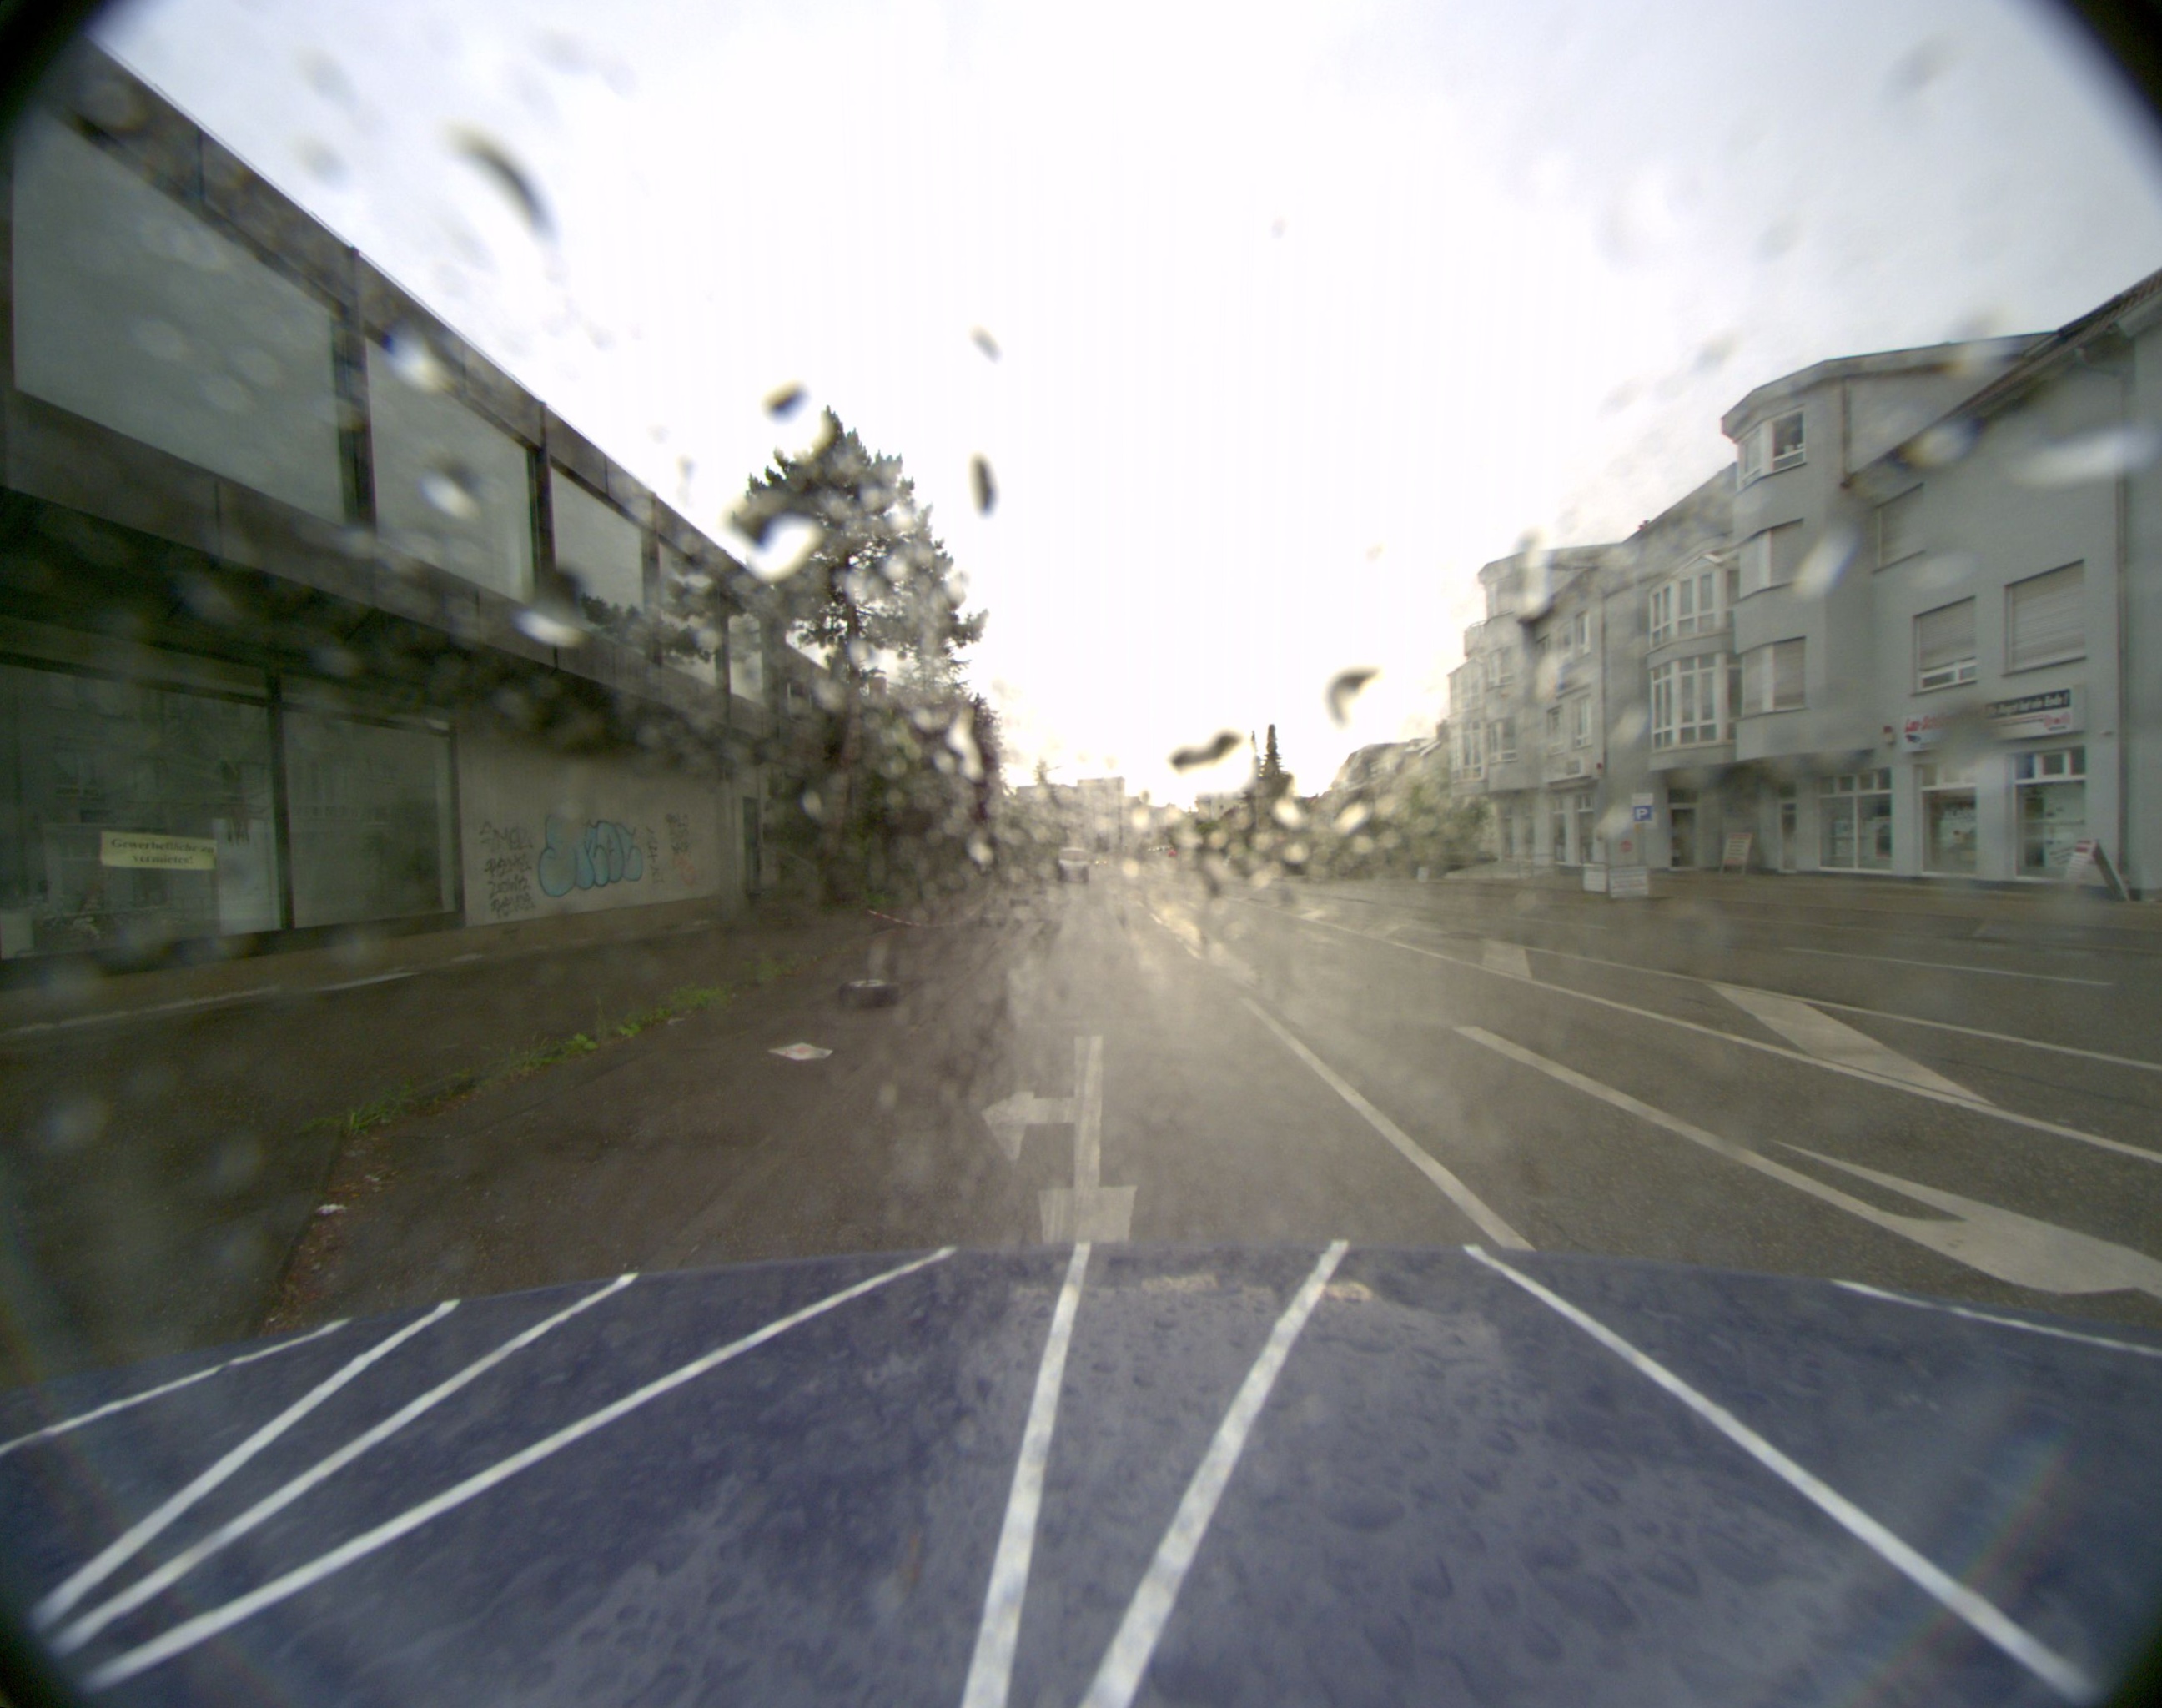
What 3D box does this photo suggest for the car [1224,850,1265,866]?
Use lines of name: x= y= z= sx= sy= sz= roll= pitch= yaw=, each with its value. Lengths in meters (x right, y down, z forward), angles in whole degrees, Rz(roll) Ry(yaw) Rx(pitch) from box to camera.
car: x=17.800 y=0.450 z=82.891 sx=4.114 sy=1.536 sz=2.001 roll=-3 pitch=0 yaw=6

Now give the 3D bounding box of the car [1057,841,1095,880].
car: x=-0.260 y=0.424 z=51.695 sx=2.397 sy=2.417 sz=6.433 roll=-1 pitch=0 yaw=1

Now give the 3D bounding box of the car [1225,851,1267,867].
car: x=17.387 y=0.527 z=80.180 sx=4.155 sy=1.434 sz=1.891 roll=-3 pitch=0 yaw=8

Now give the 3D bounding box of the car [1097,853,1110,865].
car: x=3.471 y=0.756 z=117.562 sx=1.835 sy=1.783 sz=3.837 roll=-3 pitch=0 yaw=3

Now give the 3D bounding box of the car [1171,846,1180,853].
car: x=22.472 y=-1.093 z=180.673 sx=1.997 sy=1.606 sz=4.003 roll=-1 pitch=0 yaw=11

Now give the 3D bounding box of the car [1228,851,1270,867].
car: x=17.151 y=0.518 z=77.697 sx=4.034 sy=1.434 sz=1.813 roll=-3 pitch=0 yaw=6

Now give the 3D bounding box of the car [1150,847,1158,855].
car: x=17.684 y=-0.743 z=184.115 sx=1.851 sy=1.870 sz=4.122 roll=-1 pitch=0 yaw=5

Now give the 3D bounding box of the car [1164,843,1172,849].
car: x=24.483 y=-2.241 z=214.509 sx=1.850 sy=1.753 sz=4.124 roll=-1 pitch=0 yaw=11

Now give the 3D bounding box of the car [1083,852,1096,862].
car: x=1.466 y=0.566 z=133.932 sx=1.912 sy=1.622 sz=3.703 roll=-1 pitch=0 yaw=5
